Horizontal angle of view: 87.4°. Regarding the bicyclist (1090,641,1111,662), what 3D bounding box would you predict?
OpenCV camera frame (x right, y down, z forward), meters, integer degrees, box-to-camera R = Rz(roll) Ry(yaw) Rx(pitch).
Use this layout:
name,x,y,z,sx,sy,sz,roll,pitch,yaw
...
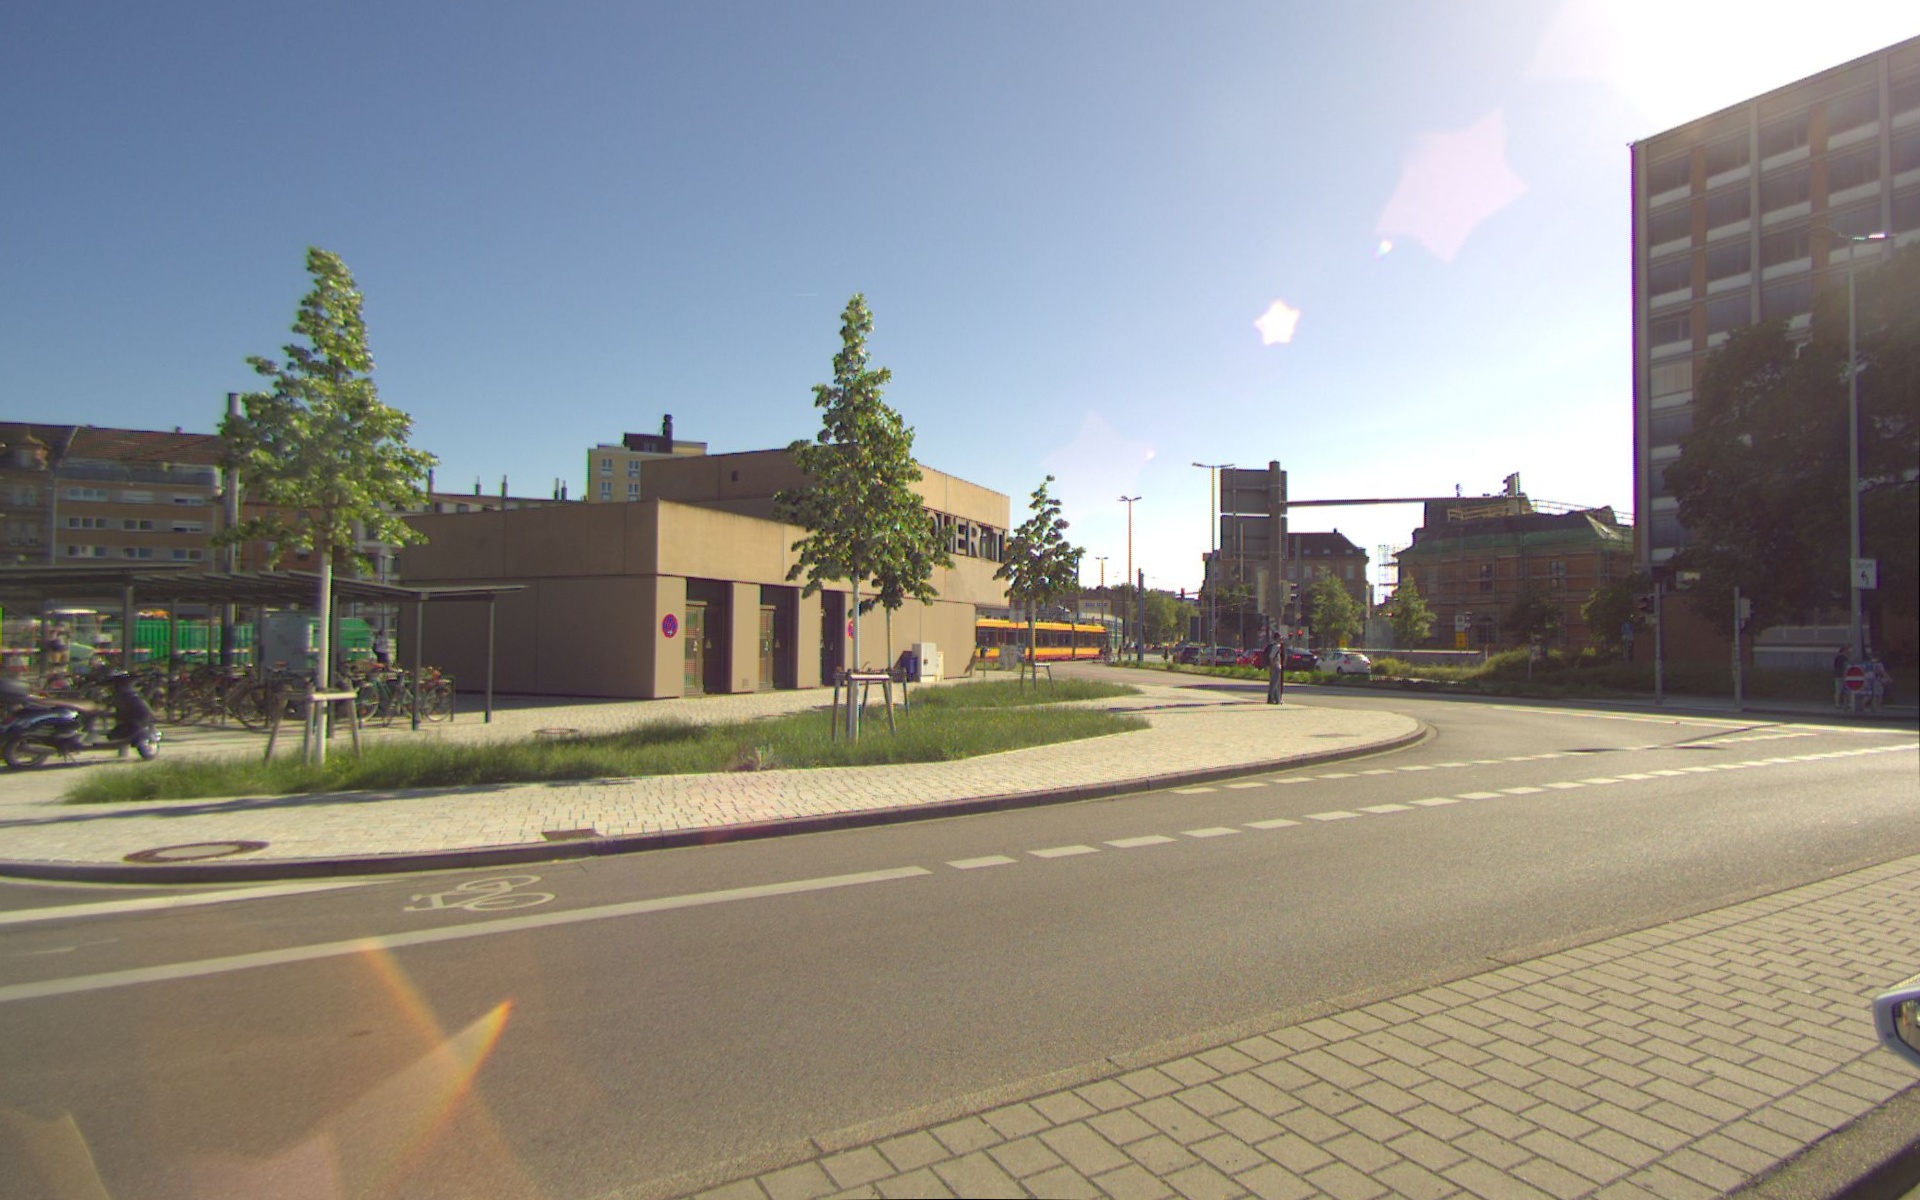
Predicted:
name,x,y,z,sx,sy,sz,roll,pitch,yaw
bicyclist,11.905,4.358,85.099,1.544,1.655,0.810,2,0,16

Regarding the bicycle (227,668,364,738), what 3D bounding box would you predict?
name,x,y,z,sx,sy,sz,roll,pitch,yaw
bicycle,-10.906,1.664,16.564,0.449,1.022,1.902,0,-2,26

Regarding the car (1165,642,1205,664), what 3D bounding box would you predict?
name,x,y,z,sx,sy,sz,roll,pitch,yaw
car,16.784,3.929,74.992,1.760,1.528,3.880,1,-2,-6

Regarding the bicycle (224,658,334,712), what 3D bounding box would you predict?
name,x,y,z,sx,sy,sz,roll,pitch,yaw
bicycle,-14.069,1.730,20.822,0.449,1.022,1.902,0,-2,26

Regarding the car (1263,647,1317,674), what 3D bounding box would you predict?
name,x,y,z,sx,sy,sz,roll,pitch,yaw
car,20.583,3.767,62.784,1.760,1.528,3.880,1,-2,-6

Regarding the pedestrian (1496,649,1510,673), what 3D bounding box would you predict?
name,x,y,z,sx,sy,sz,roll,pitch,yaw
pedestrian,40.920,4.596,75.663,0.754,1.753,0.675,2,-2,-39

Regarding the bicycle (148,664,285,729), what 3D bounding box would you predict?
name,x,y,z,sx,sy,sz,roll,pitch,yaw
bicycle,-12.894,1.650,17.483,0.449,1.022,1.902,0,-2,26

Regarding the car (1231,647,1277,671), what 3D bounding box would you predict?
name,x,y,z,sx,sy,sz,roll,pitch,yaw
car,20.213,4.032,69.244,1.760,1.528,3.880,1,-2,-6

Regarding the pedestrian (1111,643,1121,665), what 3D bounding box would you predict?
name,x,y,z,sx,sy,sz,roll,pitch,yaw
pedestrian,12.724,4.382,81.948,0.761,1.786,0.706,0,-2,11

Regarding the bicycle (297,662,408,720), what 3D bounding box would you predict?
name,x,y,z,sx,sy,sz,roll,pitch,yaw
bicycle,-11.793,1.745,19.570,0.449,1.022,1.902,0,-2,26

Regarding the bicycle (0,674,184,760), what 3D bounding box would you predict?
name,x,y,z,sx,sy,sz,roll,pitch,yaw
bicycle,-11.810,1.557,13.717,0.449,1.022,1.902,0,-2,26

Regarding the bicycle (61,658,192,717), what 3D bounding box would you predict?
name,x,y,z,sx,sy,sz,roll,pitch,yaw
bicycle,-15.913,1.645,19.233,0.449,1.022,1.902,0,-2,26

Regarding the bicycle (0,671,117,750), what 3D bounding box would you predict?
name,x,y,z,sx,sy,sz,roll,pitch,yaw
bicycle,-13.025,1.538,14.008,0.449,1.022,1.902,0,-2,26

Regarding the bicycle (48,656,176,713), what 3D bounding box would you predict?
name,x,y,z,sx,sy,sz,roll,pitch,yaw
bicycle,-16.696,1.640,19.832,0.449,1.022,1.902,0,-2,26

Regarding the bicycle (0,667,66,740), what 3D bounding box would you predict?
name,x,y,z,sx,sy,sz,roll,pitch,yaw
bicycle,-14.154,1.510,14.439,0.449,1.022,1.902,0,-2,26

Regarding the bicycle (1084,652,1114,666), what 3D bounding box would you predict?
name,x,y,z,sx,sy,sz,roll,pitch,yaw
bicycle,11.794,4.988,85.118,2.370,1.076,0.811,2,0,15

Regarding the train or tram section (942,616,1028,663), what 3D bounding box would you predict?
name,x,y,z,sx,sy,sz,roll,pitch,yaw
train or tram section,2.058,2.895,76.261,2.649,3.275,10.595,2,0,24

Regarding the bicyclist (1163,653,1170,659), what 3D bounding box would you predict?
name,x,y,z,sx,sy,sz,roll,pitch,yaw
bicyclist,17.581,4.767,85.613,0.560,0.556,0.431,0,-2,11

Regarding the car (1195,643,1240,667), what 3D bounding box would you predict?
name,x,y,z,sx,sy,sz,roll,pitch,yaw
car,17.465,3.693,68.265,1.760,1.528,3.880,1,-2,-6

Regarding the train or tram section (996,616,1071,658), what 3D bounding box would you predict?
name,x,y,z,sx,sy,sz,roll,pitch,yaw
train or tram section,6.473,3.076,85.887,2.650,3.275,10.591,2,0,26

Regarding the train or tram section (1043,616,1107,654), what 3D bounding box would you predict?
name,x,y,z,sx,sy,sz,roll,pitch,yaw
train or tram section,11.016,3.260,95.432,2.650,3.275,10.591,2,0,26

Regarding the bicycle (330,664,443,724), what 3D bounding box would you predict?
name,x,y,z,sx,sy,sz,roll,pitch,yaw
bicycle,-10.703,1.735,18.813,0.449,1.022,1.902,0,-2,26

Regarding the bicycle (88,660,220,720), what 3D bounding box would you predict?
name,x,y,z,sx,sy,sz,roll,pitch,yaw
bicycle,-15.077,1.657,18.858,0.449,1.022,1.902,0,-2,26

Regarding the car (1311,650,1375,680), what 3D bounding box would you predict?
name,x,y,z,sx,sy,sz,roll,pitch,yaw
car,21.256,3.593,55.928,1.760,1.528,3.880,1,-2,-6

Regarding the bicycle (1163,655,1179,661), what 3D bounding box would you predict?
name,x,y,z,sx,sy,sz,roll,pitch,yaw
bicycle,17.978,4.934,85.527,1.381,0.556,0.435,0,-2,11

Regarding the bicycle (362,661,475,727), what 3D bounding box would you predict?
name,x,y,z,sx,sy,sz,roll,pitch,yaw
bicycle,-9.923,1.698,18.484,0.449,1.112,1.902,0,-2,26

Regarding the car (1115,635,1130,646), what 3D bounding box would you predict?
name,x,y,z,sx,sy,sz,roll,pitch,yaw
car,32.927,8.193,203.214,1.961,2.040,3.998,2,0,23

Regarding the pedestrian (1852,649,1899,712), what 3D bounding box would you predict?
name,x,y,z,sx,sy,sz,roll,pitch,yaw
pedestrian,26.093,2.276,28.630,0.748,1.753,0.680,1,-2,-16

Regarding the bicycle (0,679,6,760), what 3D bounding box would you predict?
name,x,y,z,sx,sy,sz,roll,pitch,yaw
bicycle,-12.741,1.486,11.997,0.449,1.022,1.902,0,-2,26

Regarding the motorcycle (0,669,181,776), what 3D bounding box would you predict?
name,x,y,z,sx,sy,sz,roll,pitch,yaw
motorcycle,-10.916,1.477,12.464,0.508,1.166,1.947,0,-2,25

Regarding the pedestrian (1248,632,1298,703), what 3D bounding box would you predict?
name,x,y,z,sx,sy,sz,roll,pitch,yaw
pedestrian,7.895,1.696,25.340,1.044,1.753,0.652,1,-2,-16

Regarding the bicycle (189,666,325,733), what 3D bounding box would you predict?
name,x,y,z,sx,sy,sz,roll,pitch,yaw
bicycle,-11.885,1.653,17.053,0.449,1.022,1.902,0,-2,26

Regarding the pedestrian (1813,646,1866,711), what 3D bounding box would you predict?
name,x,y,z,sx,sy,sz,roll,pitch,yaw
pedestrian,26.004,2.307,29.709,0.895,1.887,0.813,1,-2,-16
